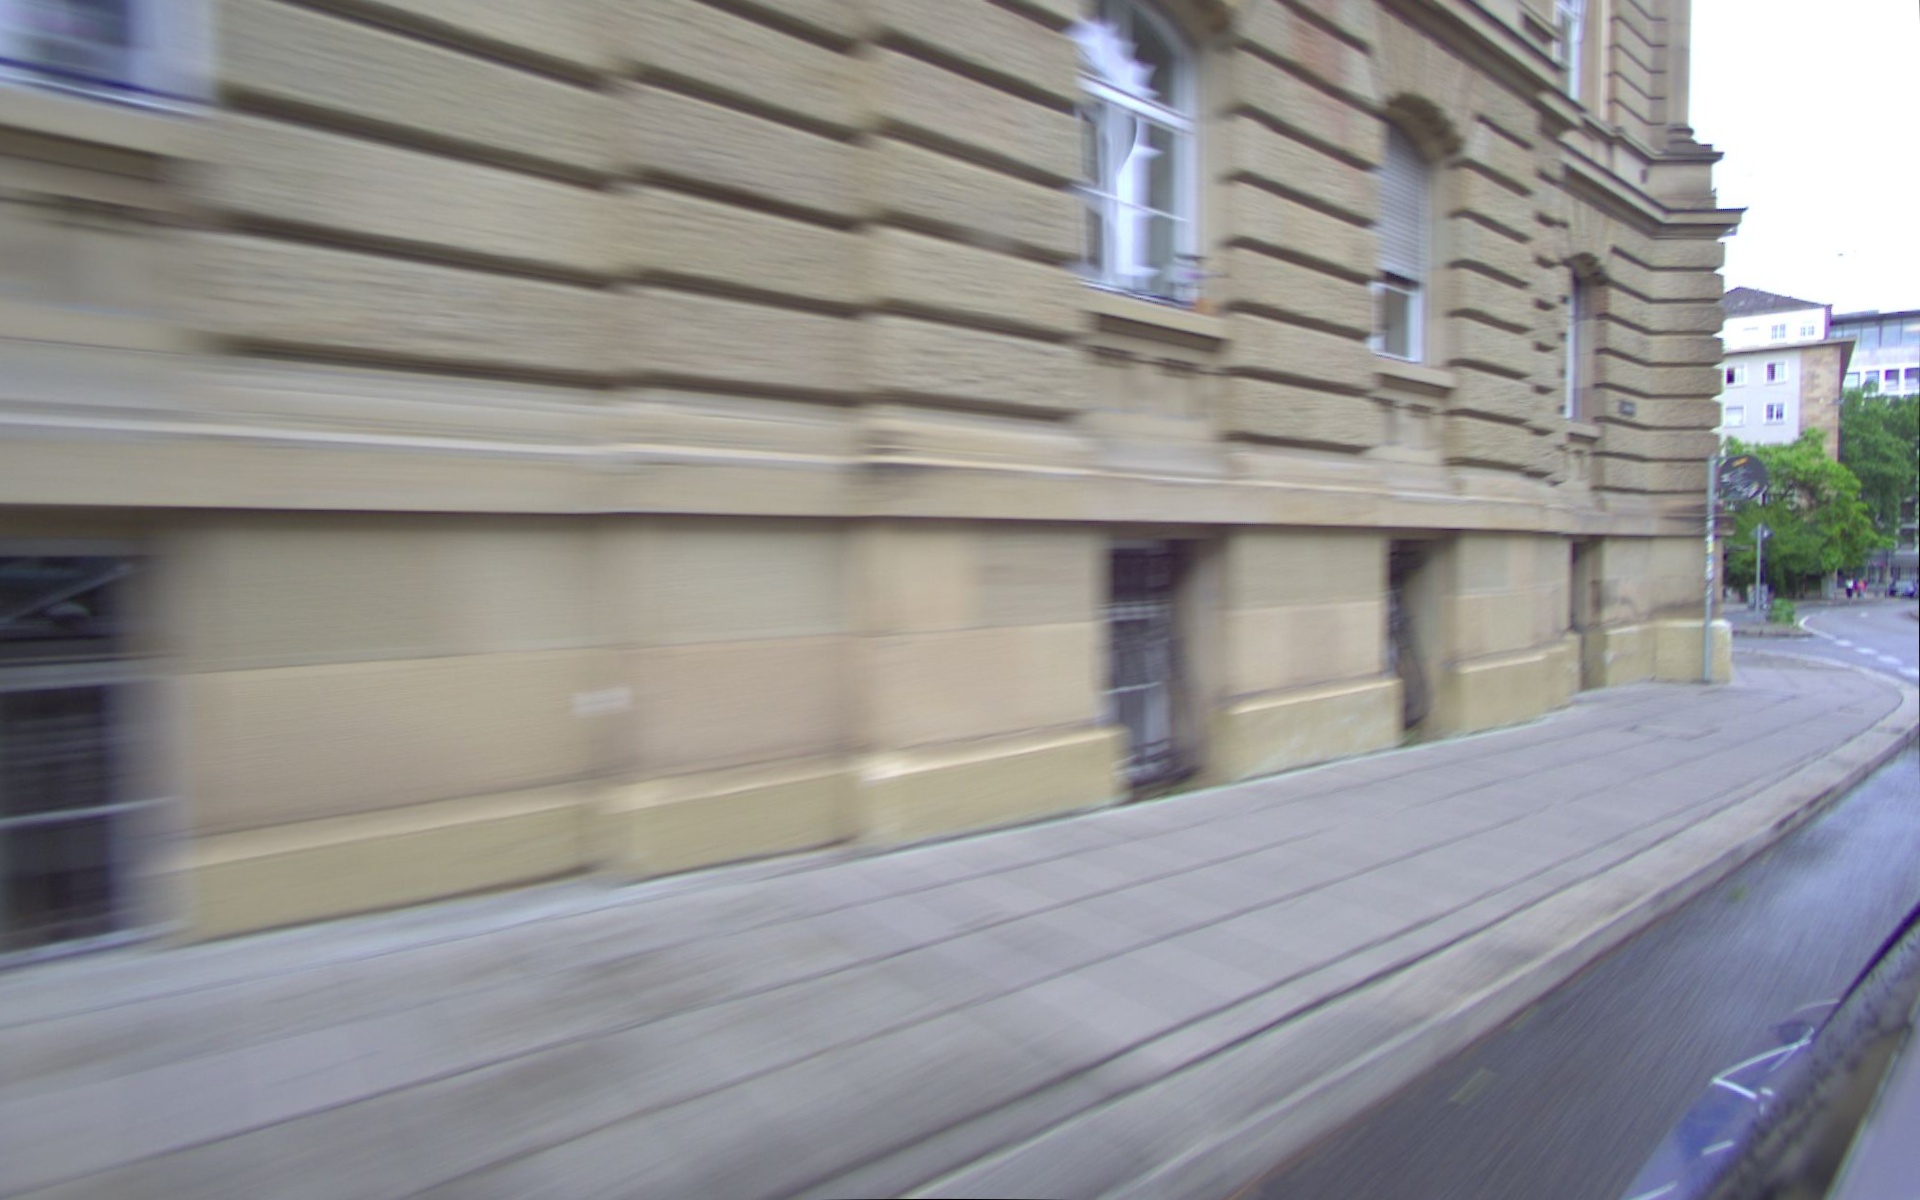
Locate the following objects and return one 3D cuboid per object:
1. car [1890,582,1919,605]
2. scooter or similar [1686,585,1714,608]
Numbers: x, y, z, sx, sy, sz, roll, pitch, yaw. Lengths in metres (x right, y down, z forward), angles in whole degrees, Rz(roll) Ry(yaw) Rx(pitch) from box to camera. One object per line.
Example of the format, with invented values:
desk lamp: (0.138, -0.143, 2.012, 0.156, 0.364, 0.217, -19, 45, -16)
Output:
car: (81.474, -0.546, 86.950, 1.990, 1.838, 3.945, 0, 2, 39)
scooter or similar: (39.838, -0.191, 54.506, 1.061, 1.188, 0.464, 2, 2, 15)
